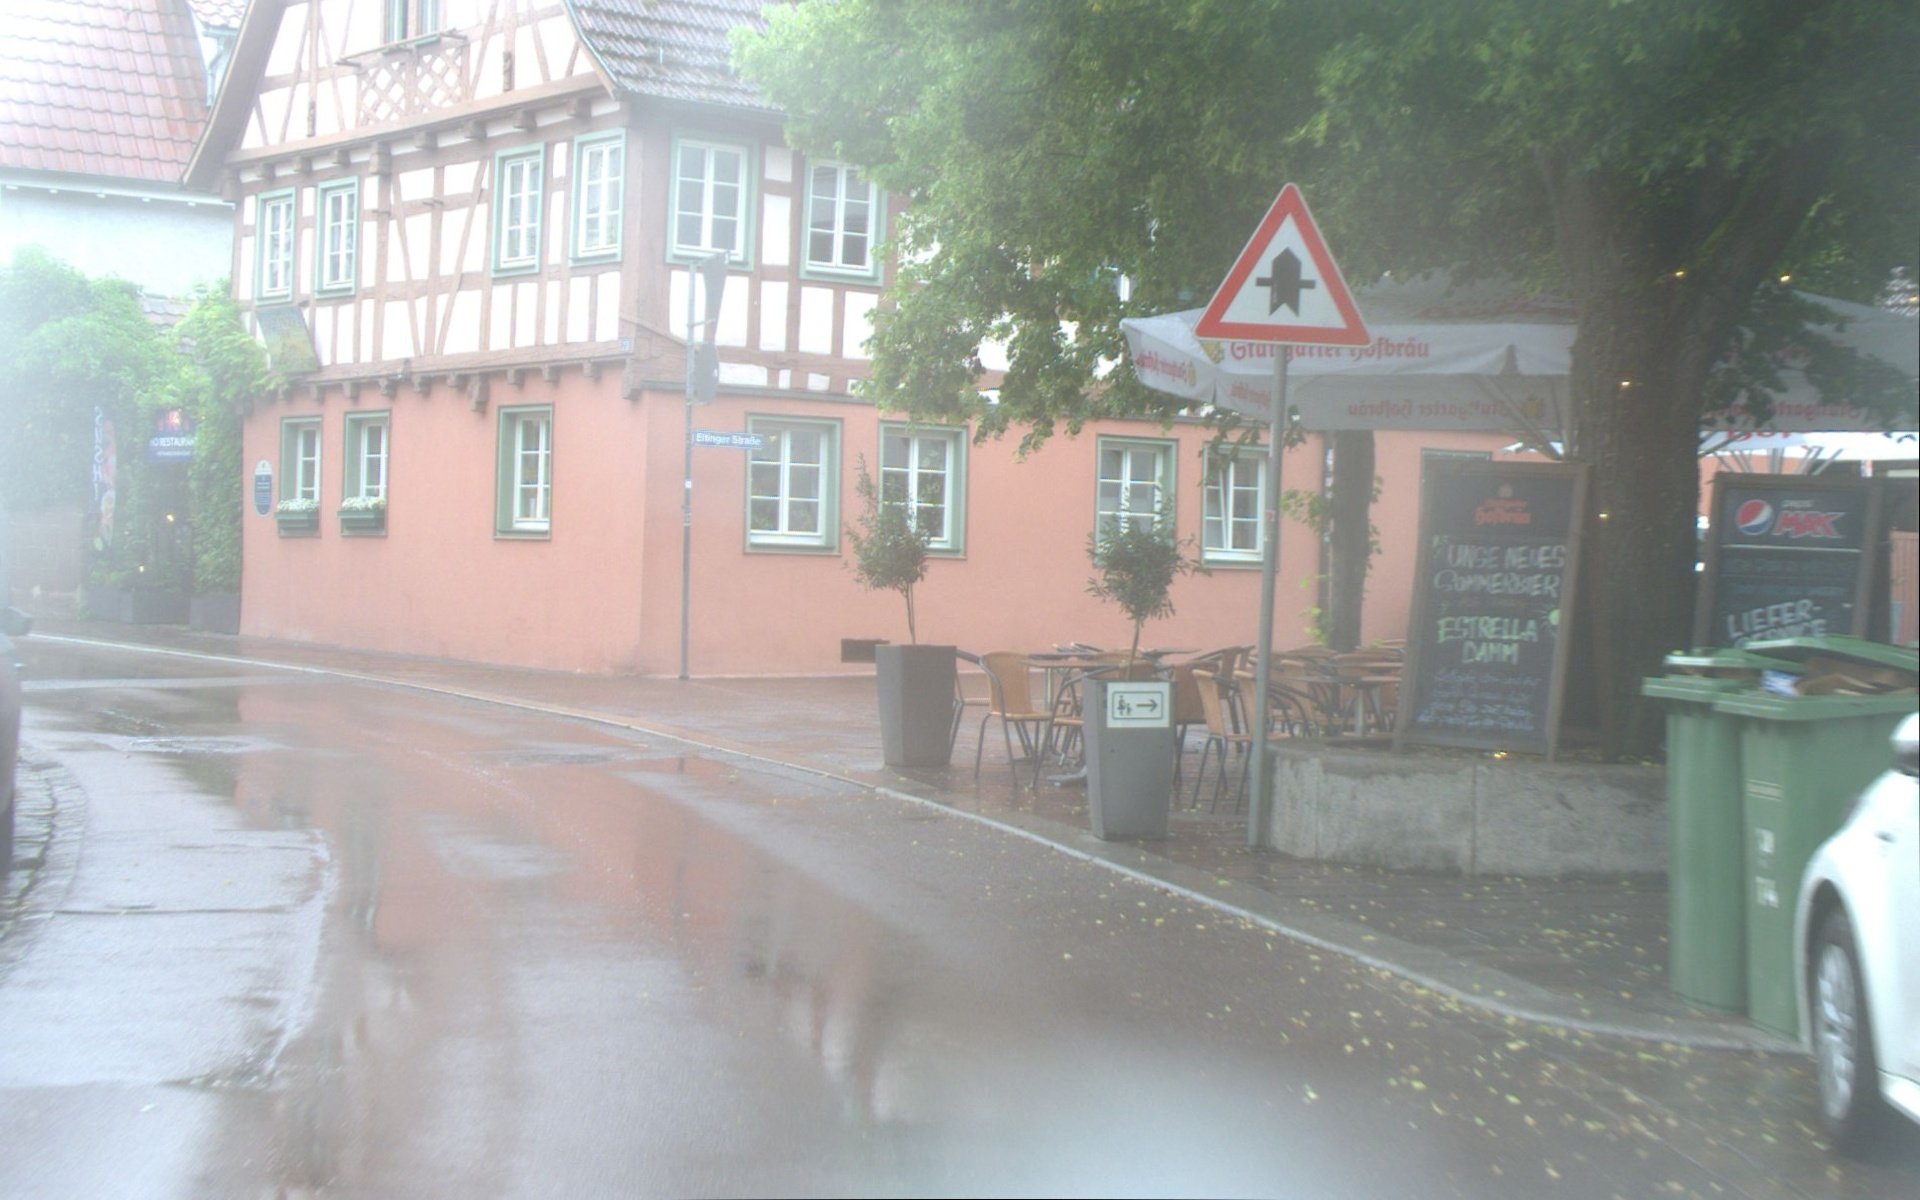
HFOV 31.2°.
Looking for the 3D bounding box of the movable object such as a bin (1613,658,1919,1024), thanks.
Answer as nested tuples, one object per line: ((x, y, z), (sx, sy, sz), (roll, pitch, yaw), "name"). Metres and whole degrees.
((2.493, 0.733, 10.638), (0.725, 1.079, 0.605), (2, -1, -10), "movable object such as a bin")

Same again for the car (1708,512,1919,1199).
((2.881, 0.611, 6.961), (1.787, 1.550, 3.950), (1, 1, -1), "car")

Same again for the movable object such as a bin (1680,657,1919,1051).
((2.565, 0.725, 9.972), (0.725, 1.089, 0.611), (2, -1, -10), "movable object such as a bin")

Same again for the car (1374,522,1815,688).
((6.939, 0.038, 37.459), (4.601, 1.627, 2.000), (0, 3, -35), "car")

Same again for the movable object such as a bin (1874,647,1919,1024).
((3.211, 0.730, 10.602), (0.537, 1.138, 0.728), (0, 1, -4), "movable object such as a bin")

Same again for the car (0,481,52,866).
((-5.156, 0.251, 15.669), (1.875, 1.535, 4.401), (2, 0, -15), "car")
